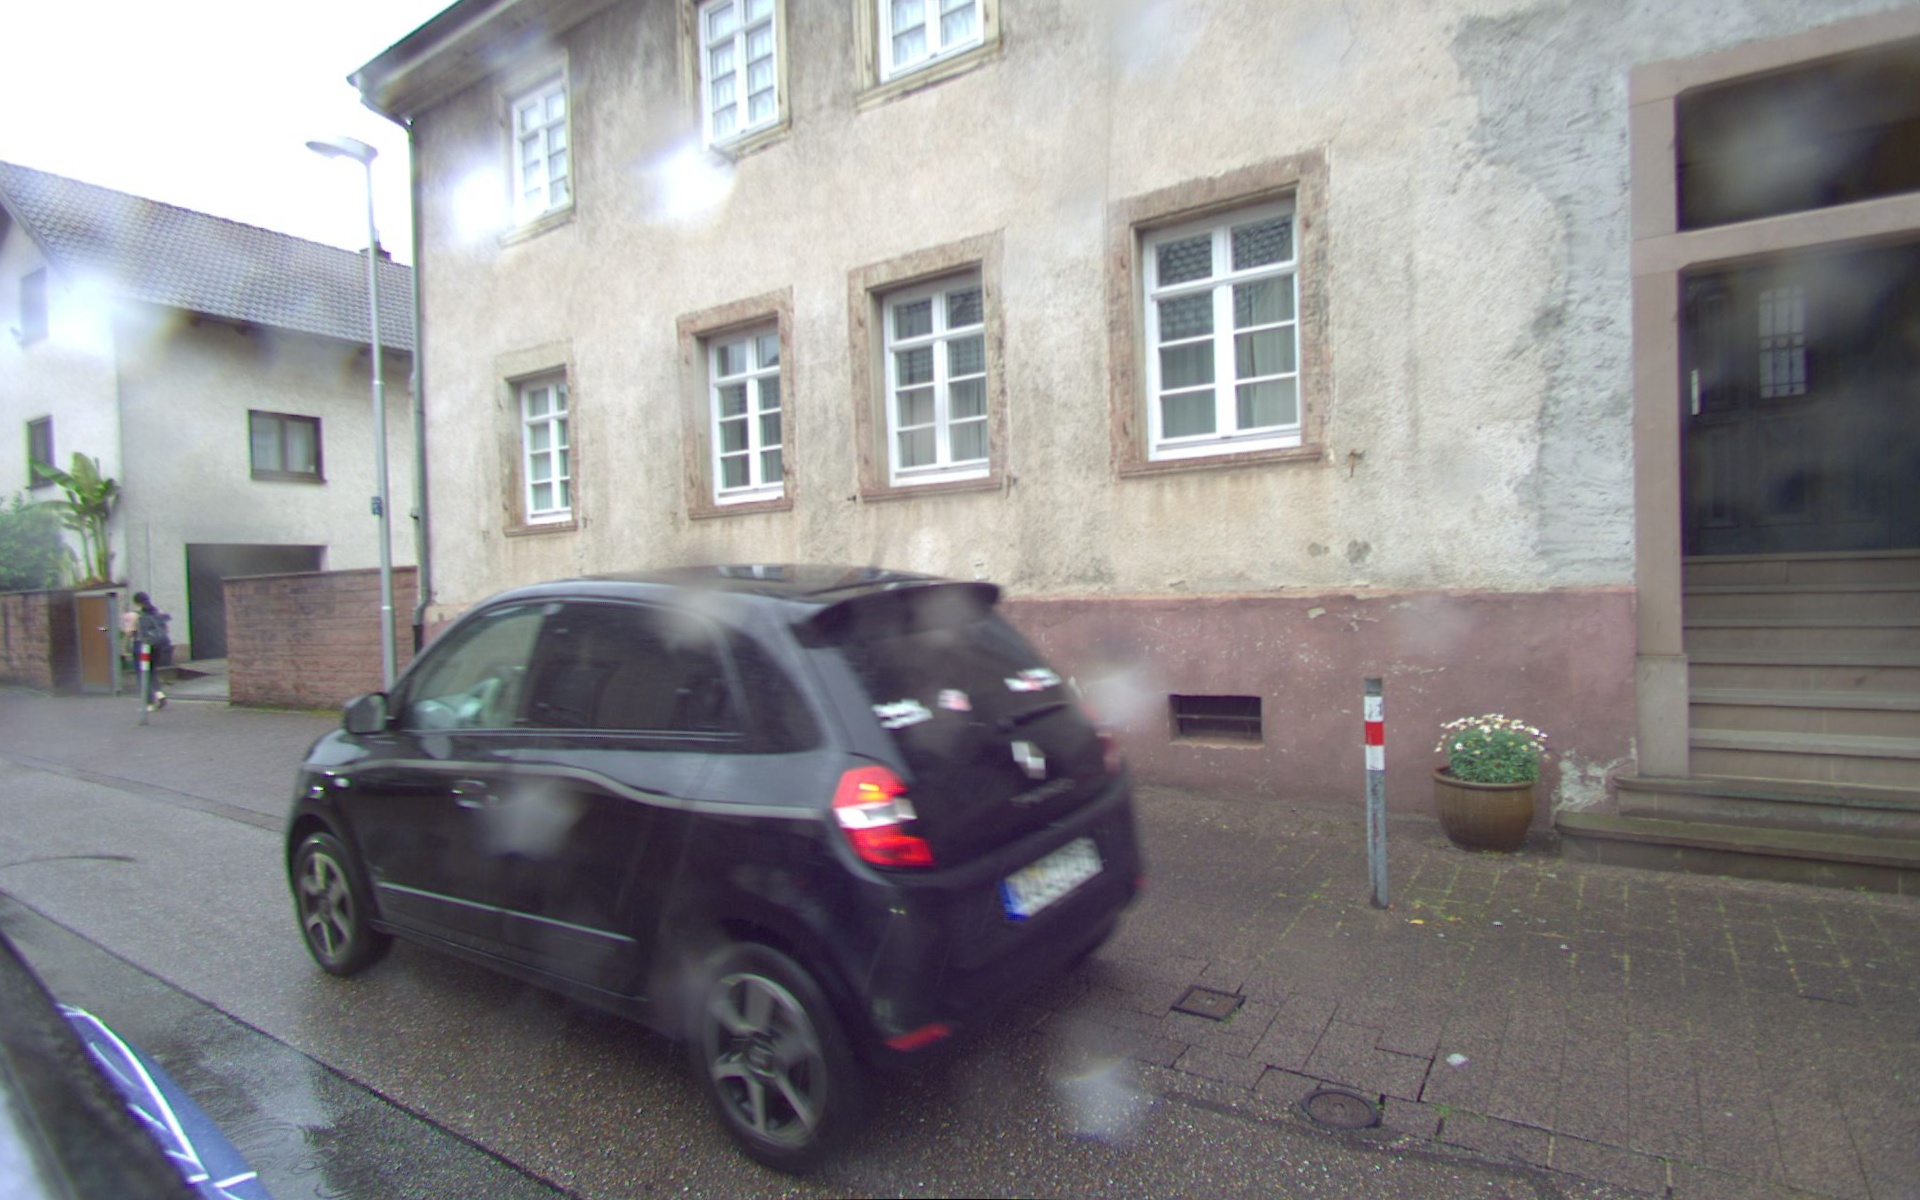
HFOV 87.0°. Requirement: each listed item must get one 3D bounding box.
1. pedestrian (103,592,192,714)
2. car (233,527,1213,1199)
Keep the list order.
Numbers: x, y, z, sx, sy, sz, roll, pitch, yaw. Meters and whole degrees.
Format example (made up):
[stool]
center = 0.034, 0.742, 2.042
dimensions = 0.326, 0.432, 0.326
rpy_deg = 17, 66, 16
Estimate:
[pedestrian]
center = -10.830, 0.685, 13.498
dimensions = 0.829, 1.549, 0.568
rpy_deg = -1, 2, 29
[car]
center = -1.115, 0.610, 3.825
dimensions = 3.681, 1.524, 1.590
rpy_deg = -1, 1, 37
